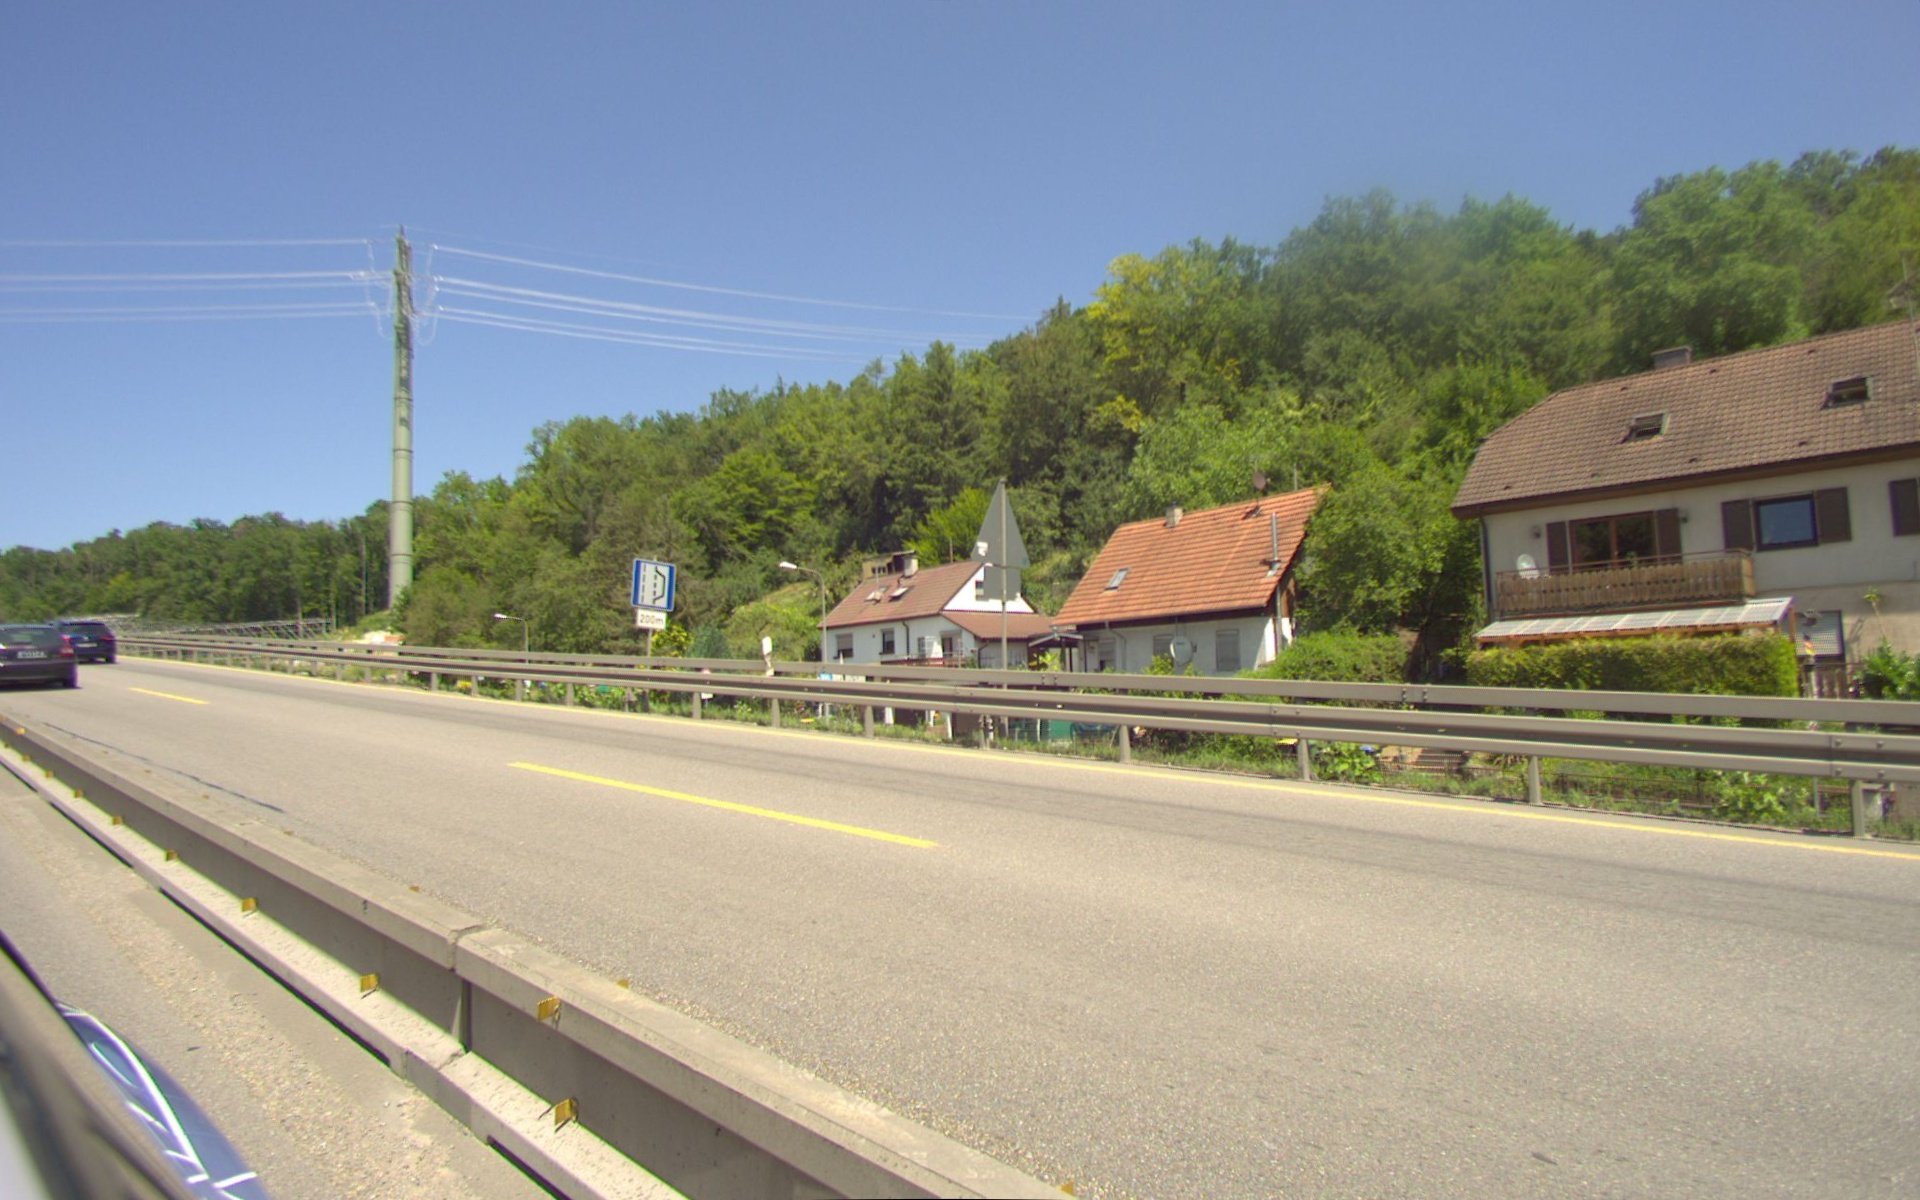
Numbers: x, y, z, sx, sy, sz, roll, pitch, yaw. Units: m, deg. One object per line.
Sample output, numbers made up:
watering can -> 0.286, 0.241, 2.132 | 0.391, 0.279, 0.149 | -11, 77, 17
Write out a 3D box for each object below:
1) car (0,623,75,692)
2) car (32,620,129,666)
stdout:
car -> -20.948, 1.238, 22.281 | 3.999, 1.419, 1.700 | -2, -3, 42
car -> -29.429, 1.396, 33.823 | 4.684, 1.429, 1.822 | -1, -2, 41
